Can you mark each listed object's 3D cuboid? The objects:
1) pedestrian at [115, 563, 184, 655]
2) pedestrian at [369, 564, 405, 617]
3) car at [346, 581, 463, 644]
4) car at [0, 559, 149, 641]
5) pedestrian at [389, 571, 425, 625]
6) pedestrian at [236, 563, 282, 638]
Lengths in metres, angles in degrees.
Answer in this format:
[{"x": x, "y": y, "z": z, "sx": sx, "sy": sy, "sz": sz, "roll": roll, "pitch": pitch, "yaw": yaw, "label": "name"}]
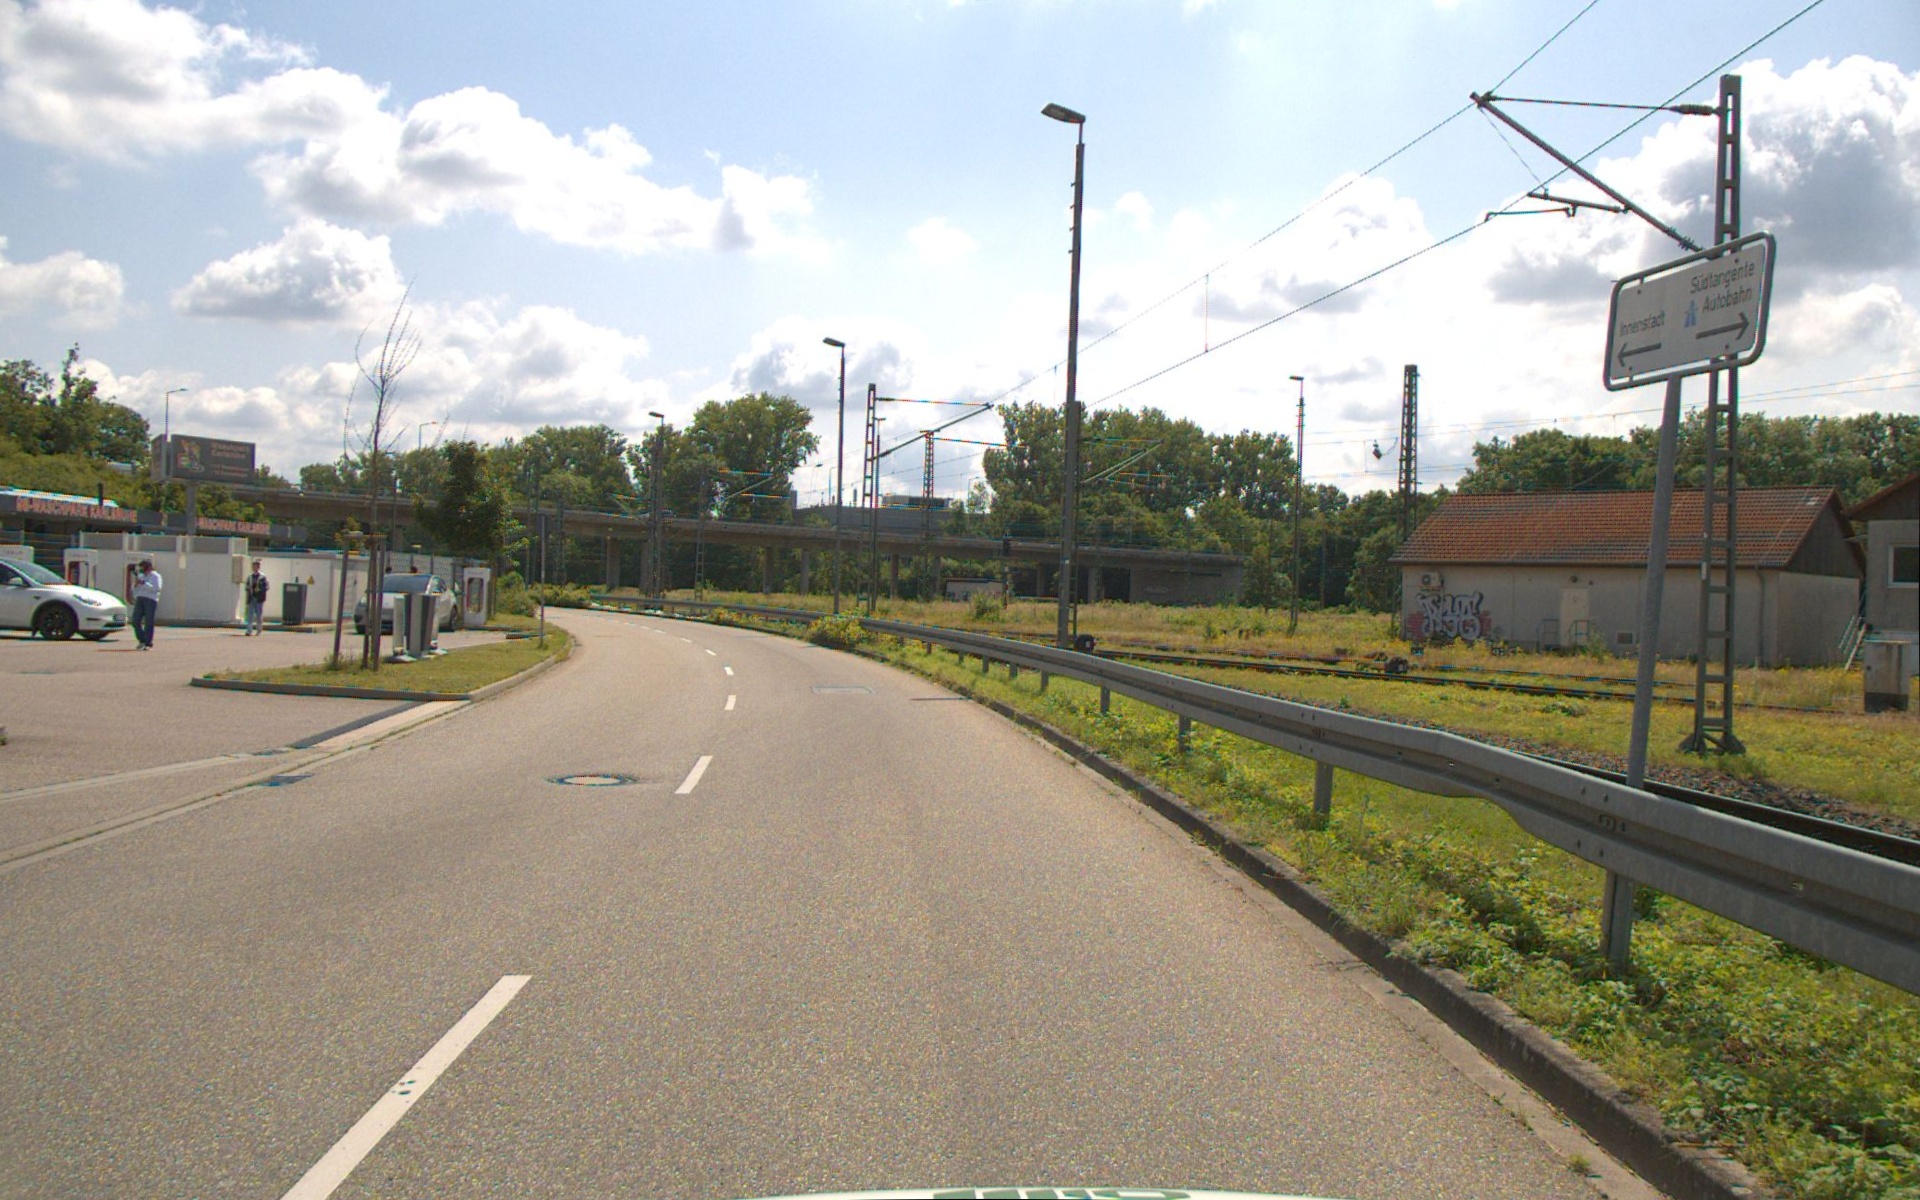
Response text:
[{"x": -15.264, "y": 0.171, "z": 31.180, "sx": 0.846, "sy": 1.682, "sz": 0.939, "roll": 2, "pitch": 0, "yaw": -7, "label": "pedestrian"}, {"x": -17.414, "y": -0.291, "z": 50.276, "sx": 0.744, "sy": 1.593, "sz": 0.711, "roll": 1, "pitch": -1, "yaw": 35, "label": "pedestrian"}, {"x": -15.576, "y": 0.306, "z": 46.640, "sx": 1.892, "sy": 1.544, "sz": 4.772, "roll": 2, "pitch": 1, "yaw": -4, "label": "car"}, {"x": -19.324, "y": -0.032, "z": 33.799, "sx": 4.464, "sy": 1.551, "sz": 1.997, "roll": 2, "pitch": -1, "yaw": -7, "label": "car"}, {"x": -16.707, "y": -0.066, "z": 49.942, "sx": 0.699, "sy": 1.607, "sz": 0.720, "roll": 1, "pitch": -1, "yaw": 33, "label": "pedestrian"}, {"x": -17.249, "y": 0.011, "z": 40.725, "sx": 0.847, "sy": 1.782, "sz": 0.725, "roll": 2, "pitch": -1, "yaw": -12, "label": "pedestrian"}]
